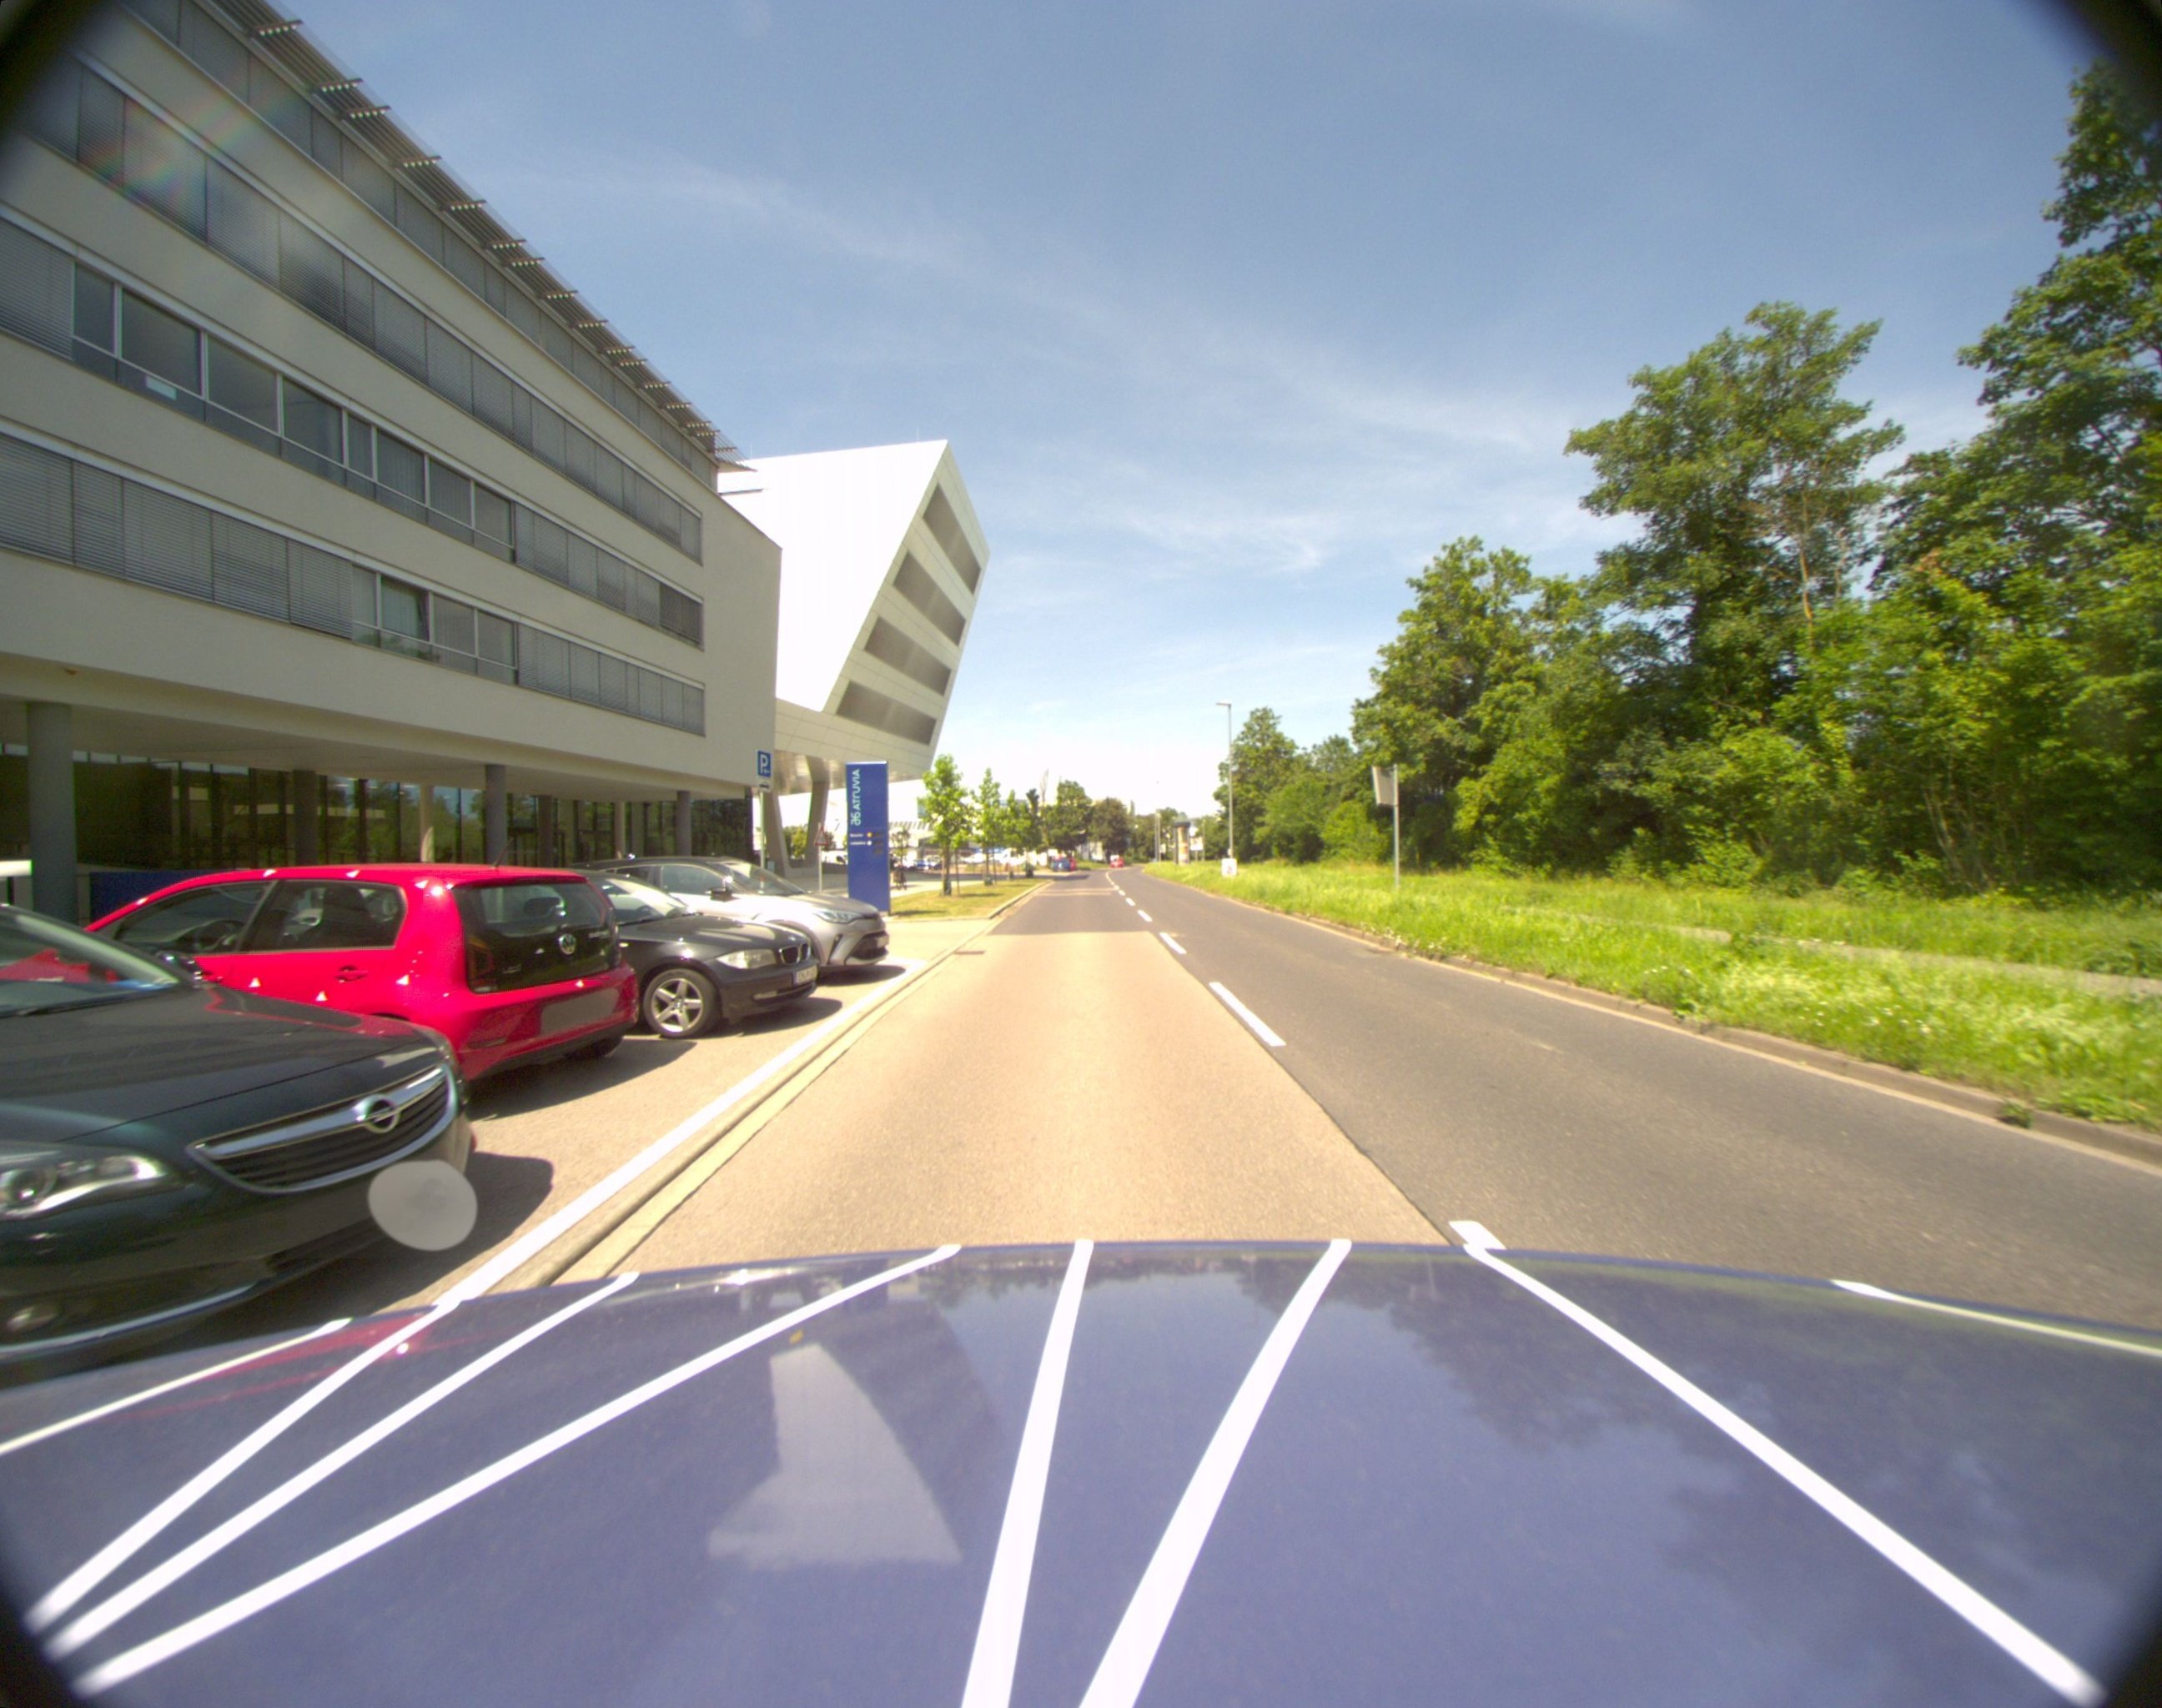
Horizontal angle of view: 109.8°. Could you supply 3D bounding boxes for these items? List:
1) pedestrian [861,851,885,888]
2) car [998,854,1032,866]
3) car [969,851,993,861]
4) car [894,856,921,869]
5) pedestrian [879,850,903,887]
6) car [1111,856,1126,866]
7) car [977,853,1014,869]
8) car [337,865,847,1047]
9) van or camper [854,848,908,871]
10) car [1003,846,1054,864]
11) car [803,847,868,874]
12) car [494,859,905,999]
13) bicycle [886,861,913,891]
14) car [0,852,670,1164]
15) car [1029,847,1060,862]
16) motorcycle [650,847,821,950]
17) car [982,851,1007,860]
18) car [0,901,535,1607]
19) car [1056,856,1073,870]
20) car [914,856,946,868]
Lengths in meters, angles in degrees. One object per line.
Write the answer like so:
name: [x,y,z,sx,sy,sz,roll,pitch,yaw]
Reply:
pedestrian: [-9.597,0.716,35.135,0.844,1.650,0.775,-2,1,0]
car: [-8.308,0.765,96.224,3.996,1.385,1.653,-2,1,4]
car: [-17.462,0.329,132.757,3.916,1.533,1.704,-2,1,7]
car: [-20.277,0.997,88.824,2.895,1.296,1.201,-2,1,7]
pedestrian: [-8.755,0.663,35.117,0.844,1.691,0.775,-2,1,0]
car: [5.512,0.974,111.691,1.711,1.368,3.677,-2,1,9]
car: [-9.698,0.797,86.532,3.821,1.664,1.741,-2,1,4]
car: [-4.408,0.865,7.240,3.816,1.477,1.656,0,1,3]
van or camper: [-22.775,0.603,86.548,5.699,2.376,1.704,-2,1,7]
car: [-7.144,0.153,103.447,6.491,2.137,2.166,-2,1,7]
car: [-23.769,0.628,73.755,5.580,2.446,2.001,-2,1,7]
car: [-4.626,0.868,9.664,4.331,1.554,1.786,0,1,2]
bicycle: [-8.315,0.989,34.841,0.645,1.247,2.304,-2,1,0]
car: [-5.226,0.835,5.031,3.996,1.645,1.839,-1,1,3]
car: [-5.192,0.026,109.163,4.204,1.964,1.704,-2,1,7]
motorcycle: [-5.527,0.644,12.145,2.438,1.489,1.228,1,0,28]
car: [-16.349,0.255,144.241,4.320,1.647,1.704,-2,1,7]
car: [-4.694,0.927,2.415,4.579,1.424,1.827,1,1,-1]
car: [-1.848,0.993,84.507,1.802,1.490,3.999,-2,1,0]
car: [-19.891,1.057,100.284,3.815,1.362,1.459,-2,1,7]
